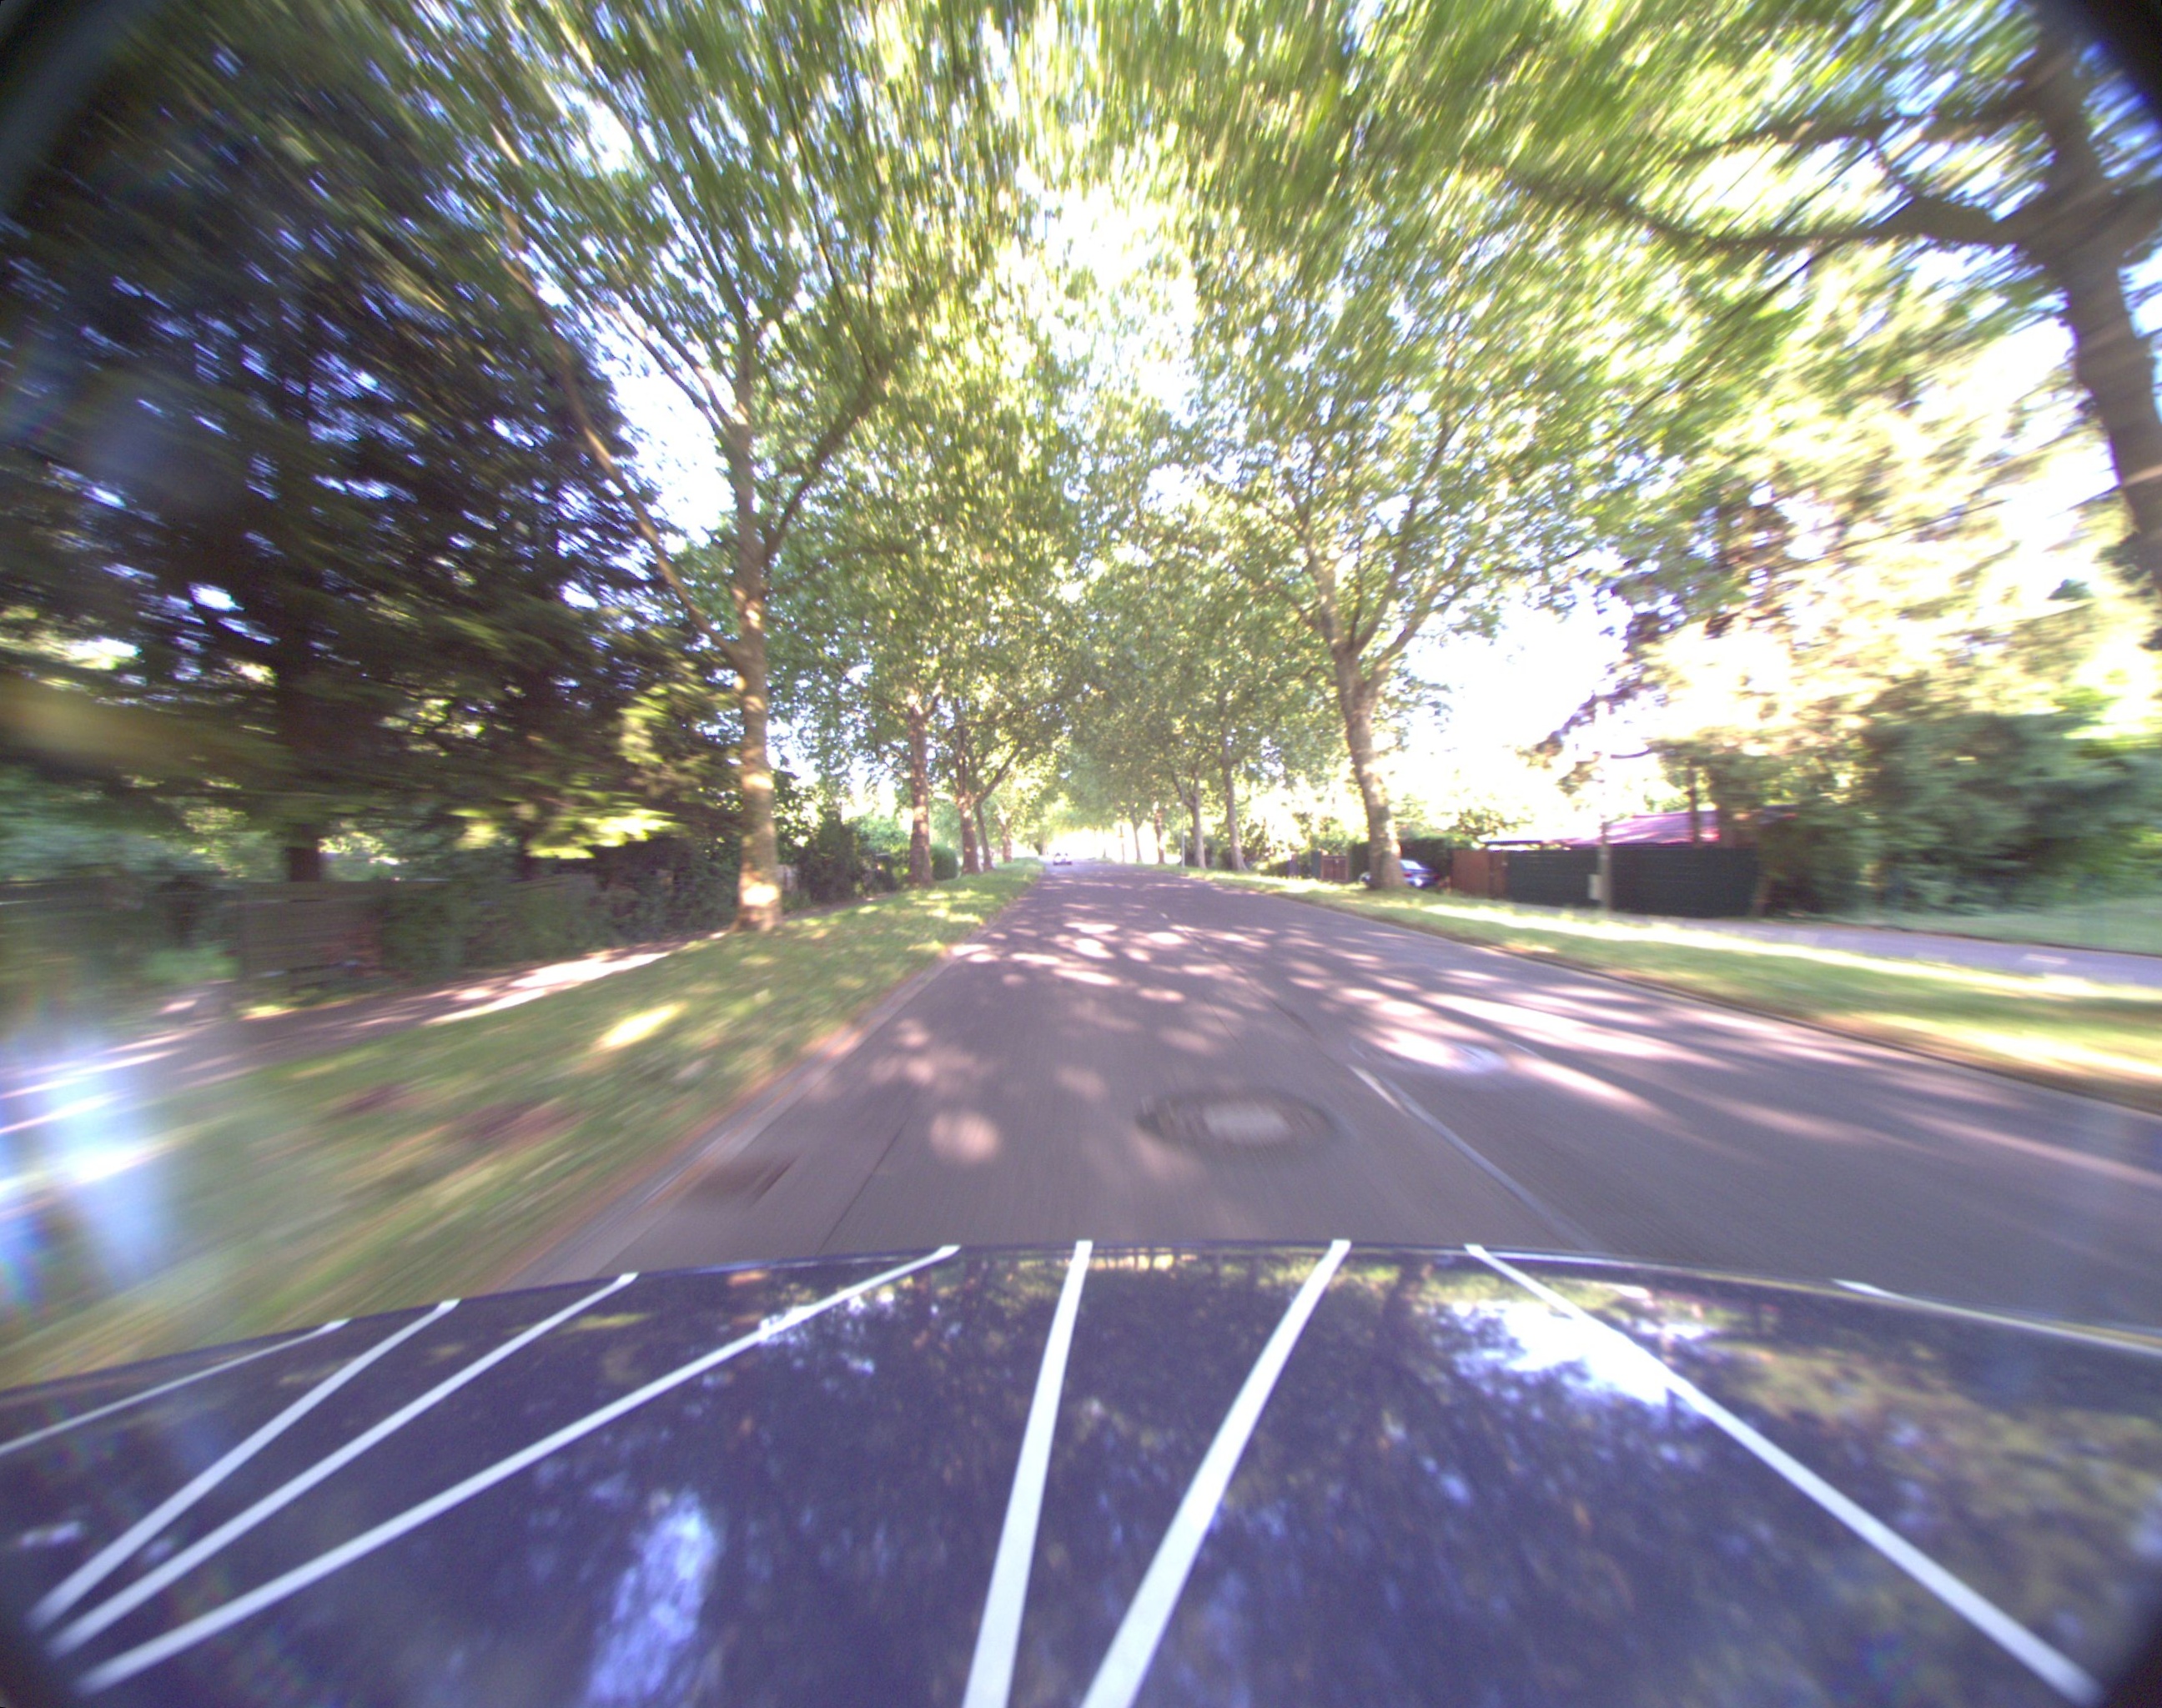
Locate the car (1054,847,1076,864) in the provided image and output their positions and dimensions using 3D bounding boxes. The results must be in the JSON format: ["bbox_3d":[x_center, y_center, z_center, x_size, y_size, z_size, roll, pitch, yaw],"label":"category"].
[{"bbox_3d":[-1.685,0.117,78.439,1.999,1.656,3.997,-2,1,-5],"label":"car"}]
